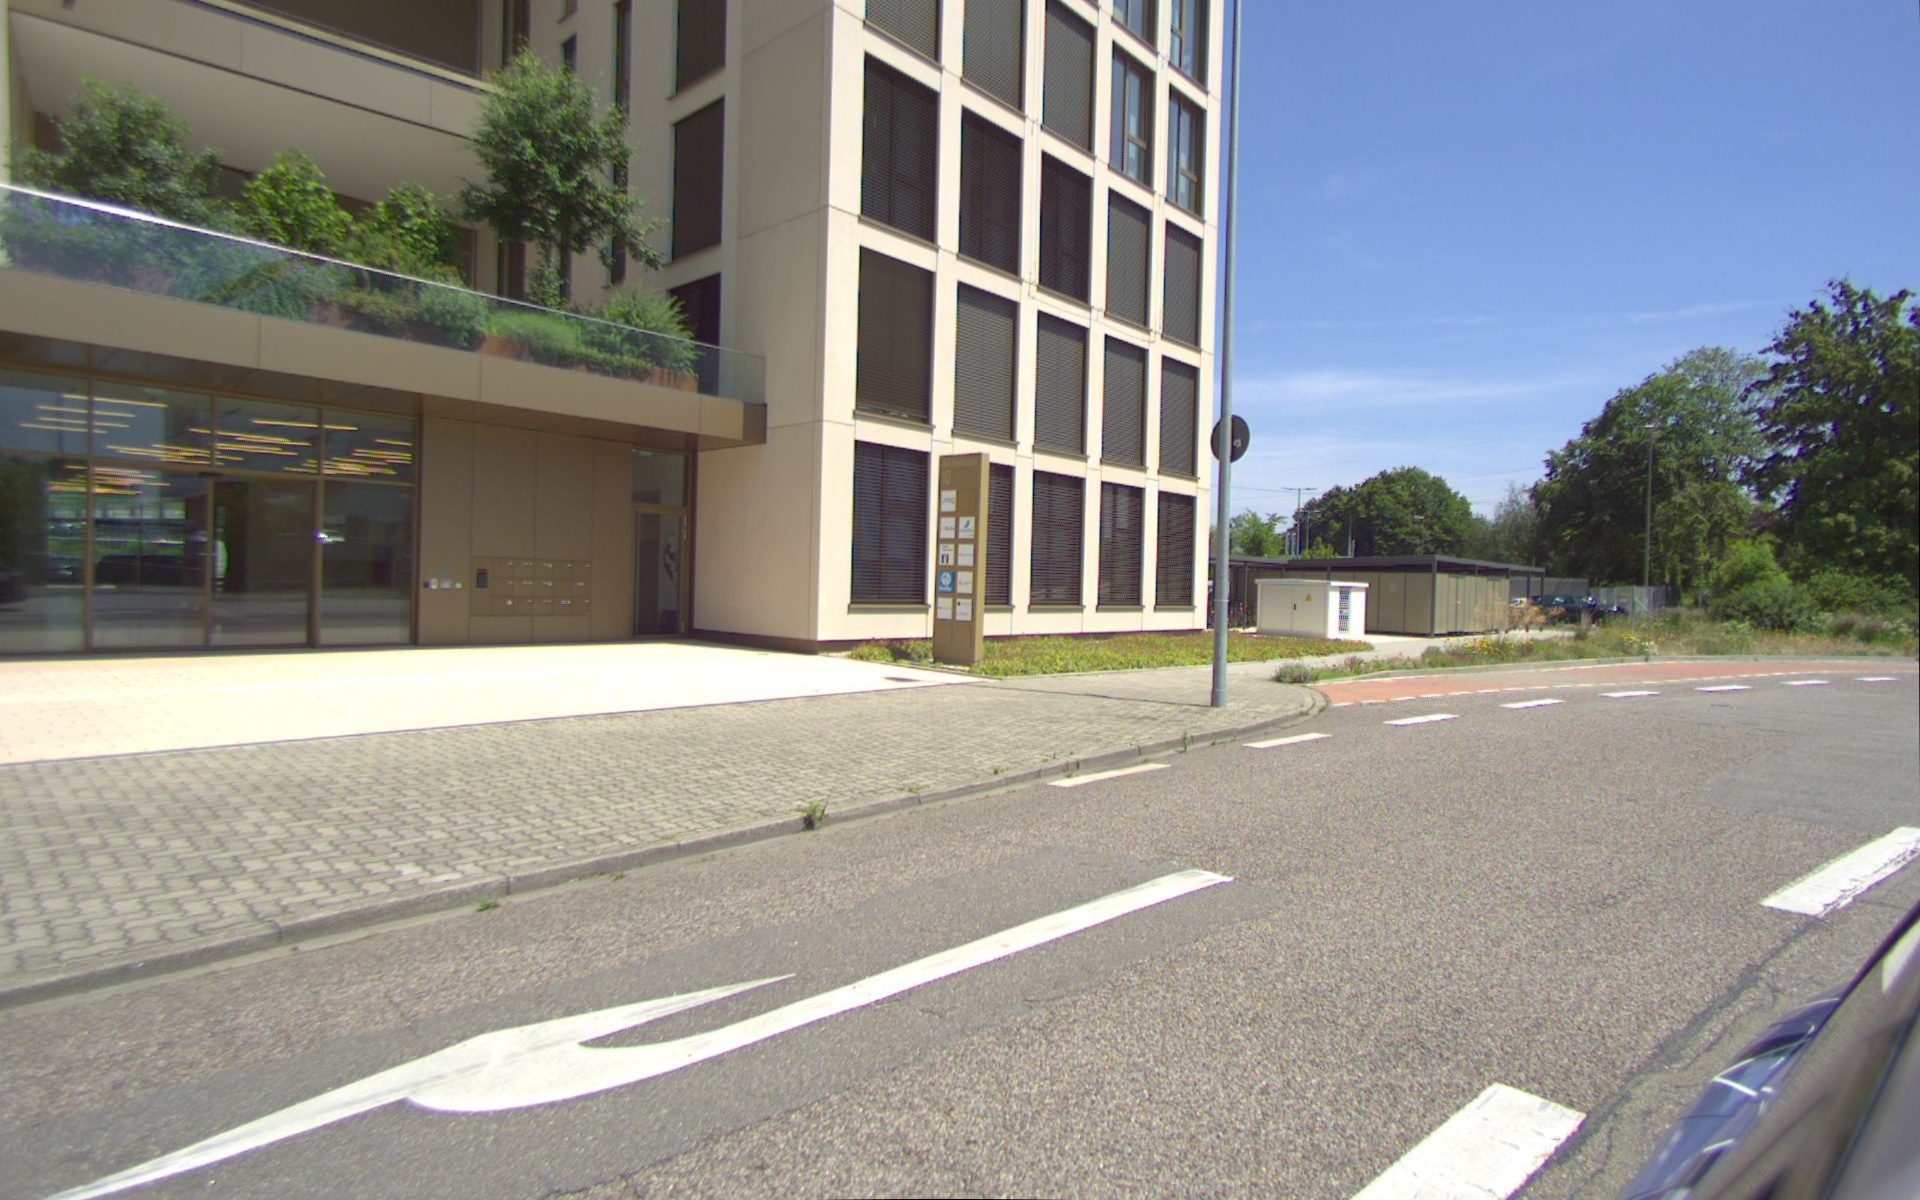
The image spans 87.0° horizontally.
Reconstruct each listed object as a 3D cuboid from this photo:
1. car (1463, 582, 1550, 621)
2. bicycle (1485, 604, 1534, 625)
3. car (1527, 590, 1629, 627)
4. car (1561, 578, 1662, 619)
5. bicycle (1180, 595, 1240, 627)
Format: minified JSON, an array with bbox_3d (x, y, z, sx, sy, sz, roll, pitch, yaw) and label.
[{"bbox_3d":[30.726,0.070,57.020,3.947,2.039,1.989,2,1,18],"label":"car"},{"bbox_3d":[25.026,0.663,46.115,1.877,0.874,0.581,2,1,42],"label":"bicycle"},{"bbox_3d":[30.610,0.409,50.254,3.949,1.682,1.827,2,1,19],"label":"car"},{"bbox_3d":[33.838,-0.118,52.674,3.947,1.977,1.989,2,1,18],"label":"car"},{"bbox_3d":[8.496,0.362,34.396,1.829,1.014,0.726,2,1,37],"label":"bicycle"}]
